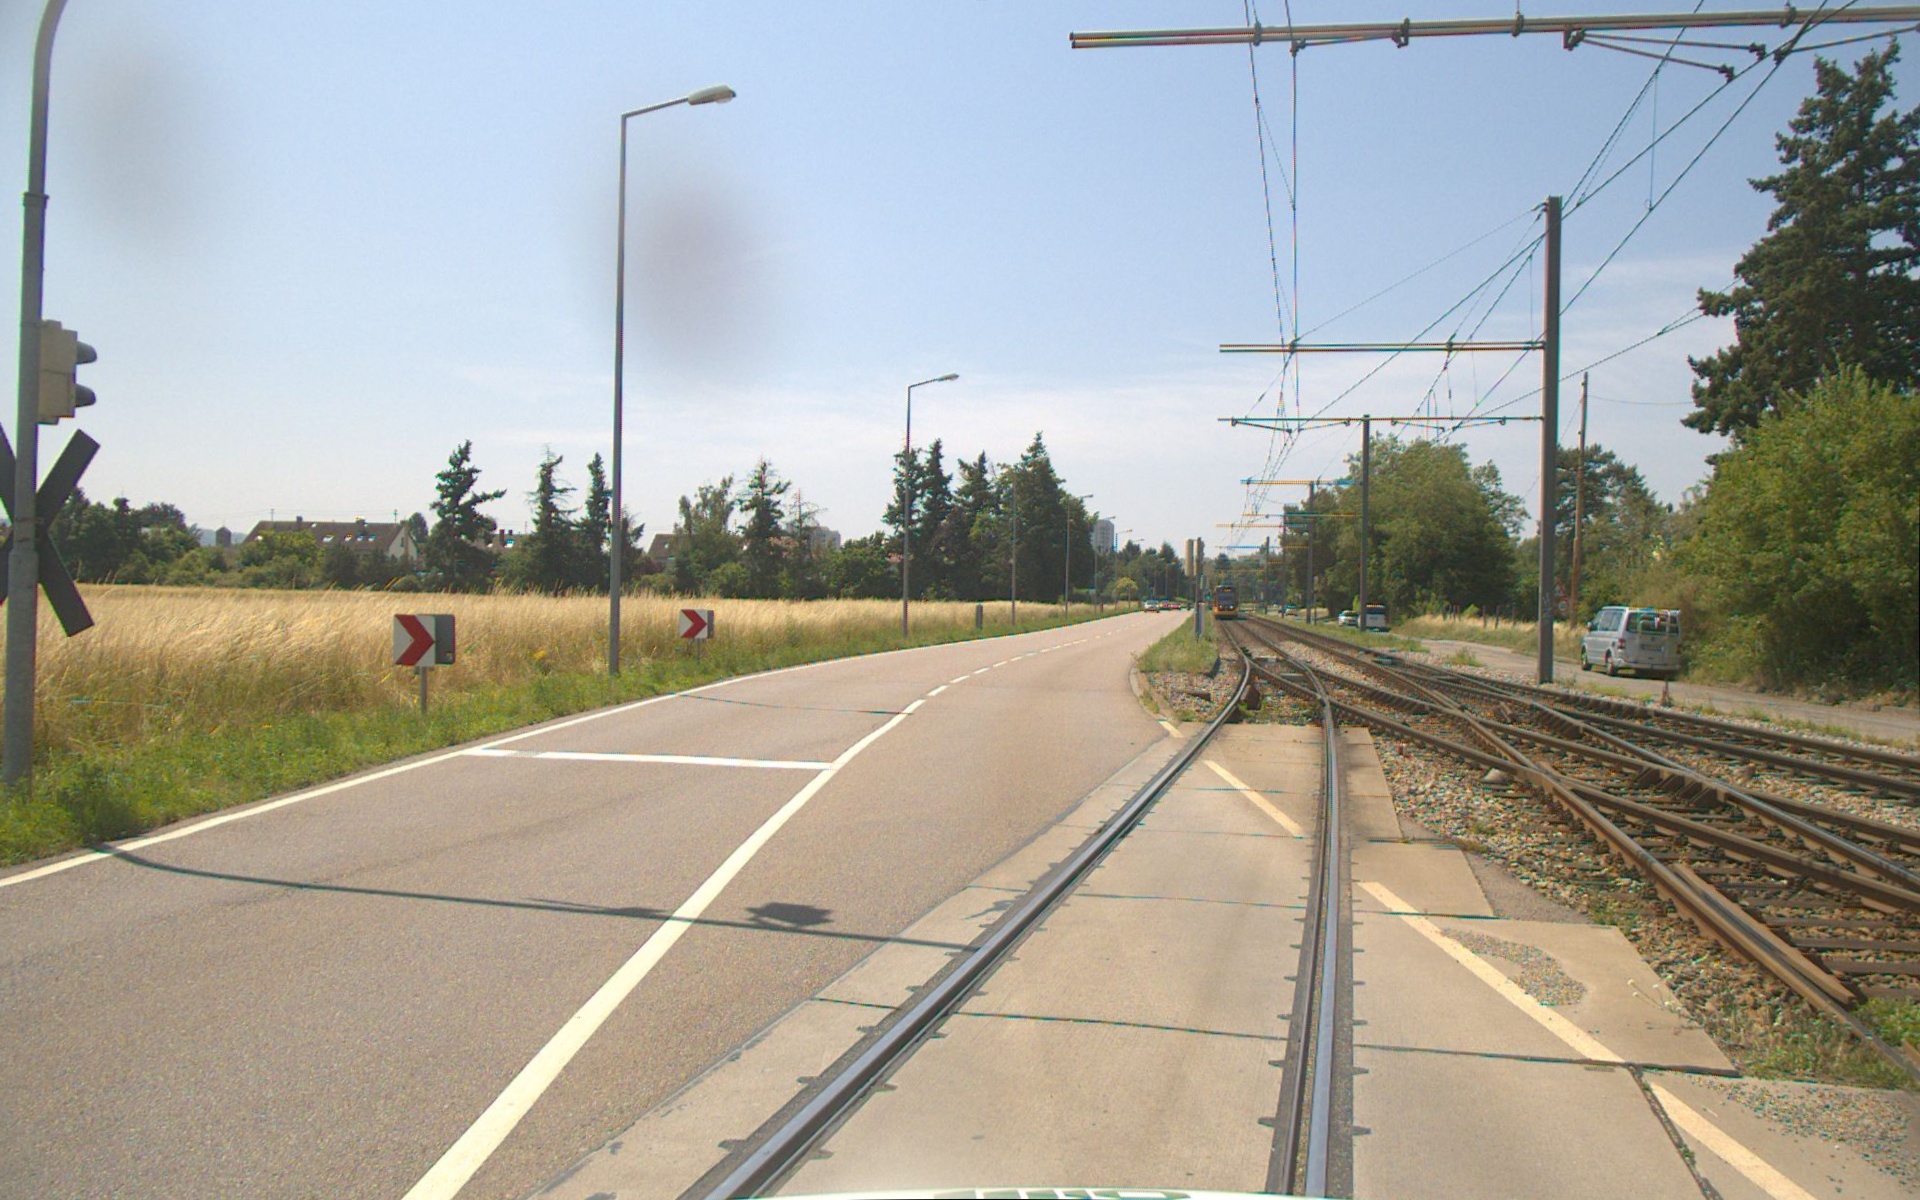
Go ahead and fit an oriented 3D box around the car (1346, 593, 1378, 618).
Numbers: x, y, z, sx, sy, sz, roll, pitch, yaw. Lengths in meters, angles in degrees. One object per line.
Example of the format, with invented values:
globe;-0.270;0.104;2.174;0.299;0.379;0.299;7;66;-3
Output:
car;30.477;0.448;125.461;1.951;1.834;4.798;0;0;8

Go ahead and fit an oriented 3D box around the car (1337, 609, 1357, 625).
car;33.818;1.459;144.515;1.397;1.331;3.468;0;0;8

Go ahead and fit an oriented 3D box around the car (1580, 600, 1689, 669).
car;19.829;0.975;48.832;1.993;1.915;5.073;0;0;11

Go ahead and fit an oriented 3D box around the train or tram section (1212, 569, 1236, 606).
train or tram section;28.684;-1.321;180.000;2.377;3.832;11.568;0;0;8

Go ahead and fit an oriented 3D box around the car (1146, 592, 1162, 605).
car;23.788;-0.153;202.711;1.795;1.493;4.682;1;-1;8
